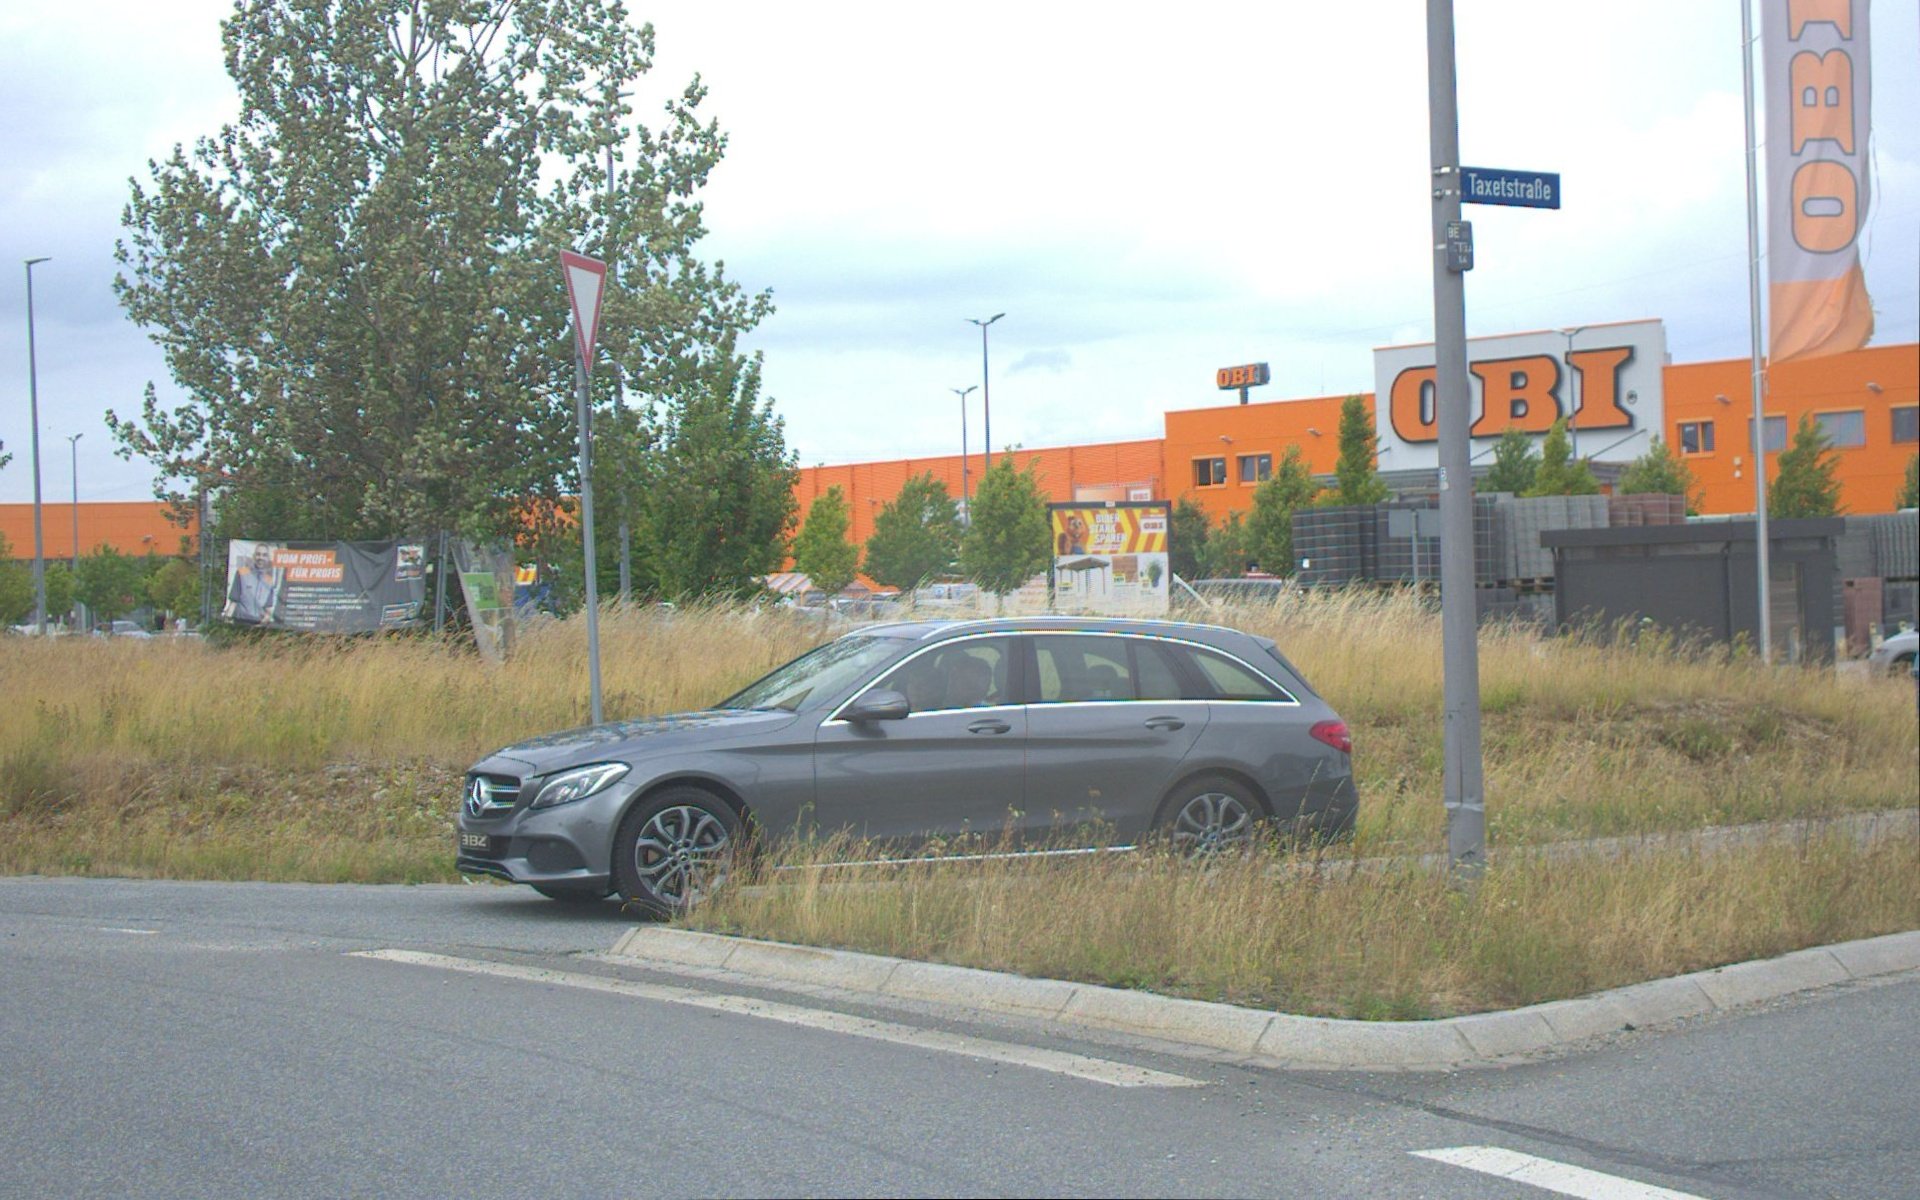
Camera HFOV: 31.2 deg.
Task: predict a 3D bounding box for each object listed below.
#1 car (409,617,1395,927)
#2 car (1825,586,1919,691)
[{"bbox_3d":[-0.275,0.797,17.619,4.671,1.399,1.929,0,0,-26],"label":"car"},{"bbox_3d":[13.937,0.515,45.428,1.738,1.399,4.756,0,0,-40],"label":"car"}]
